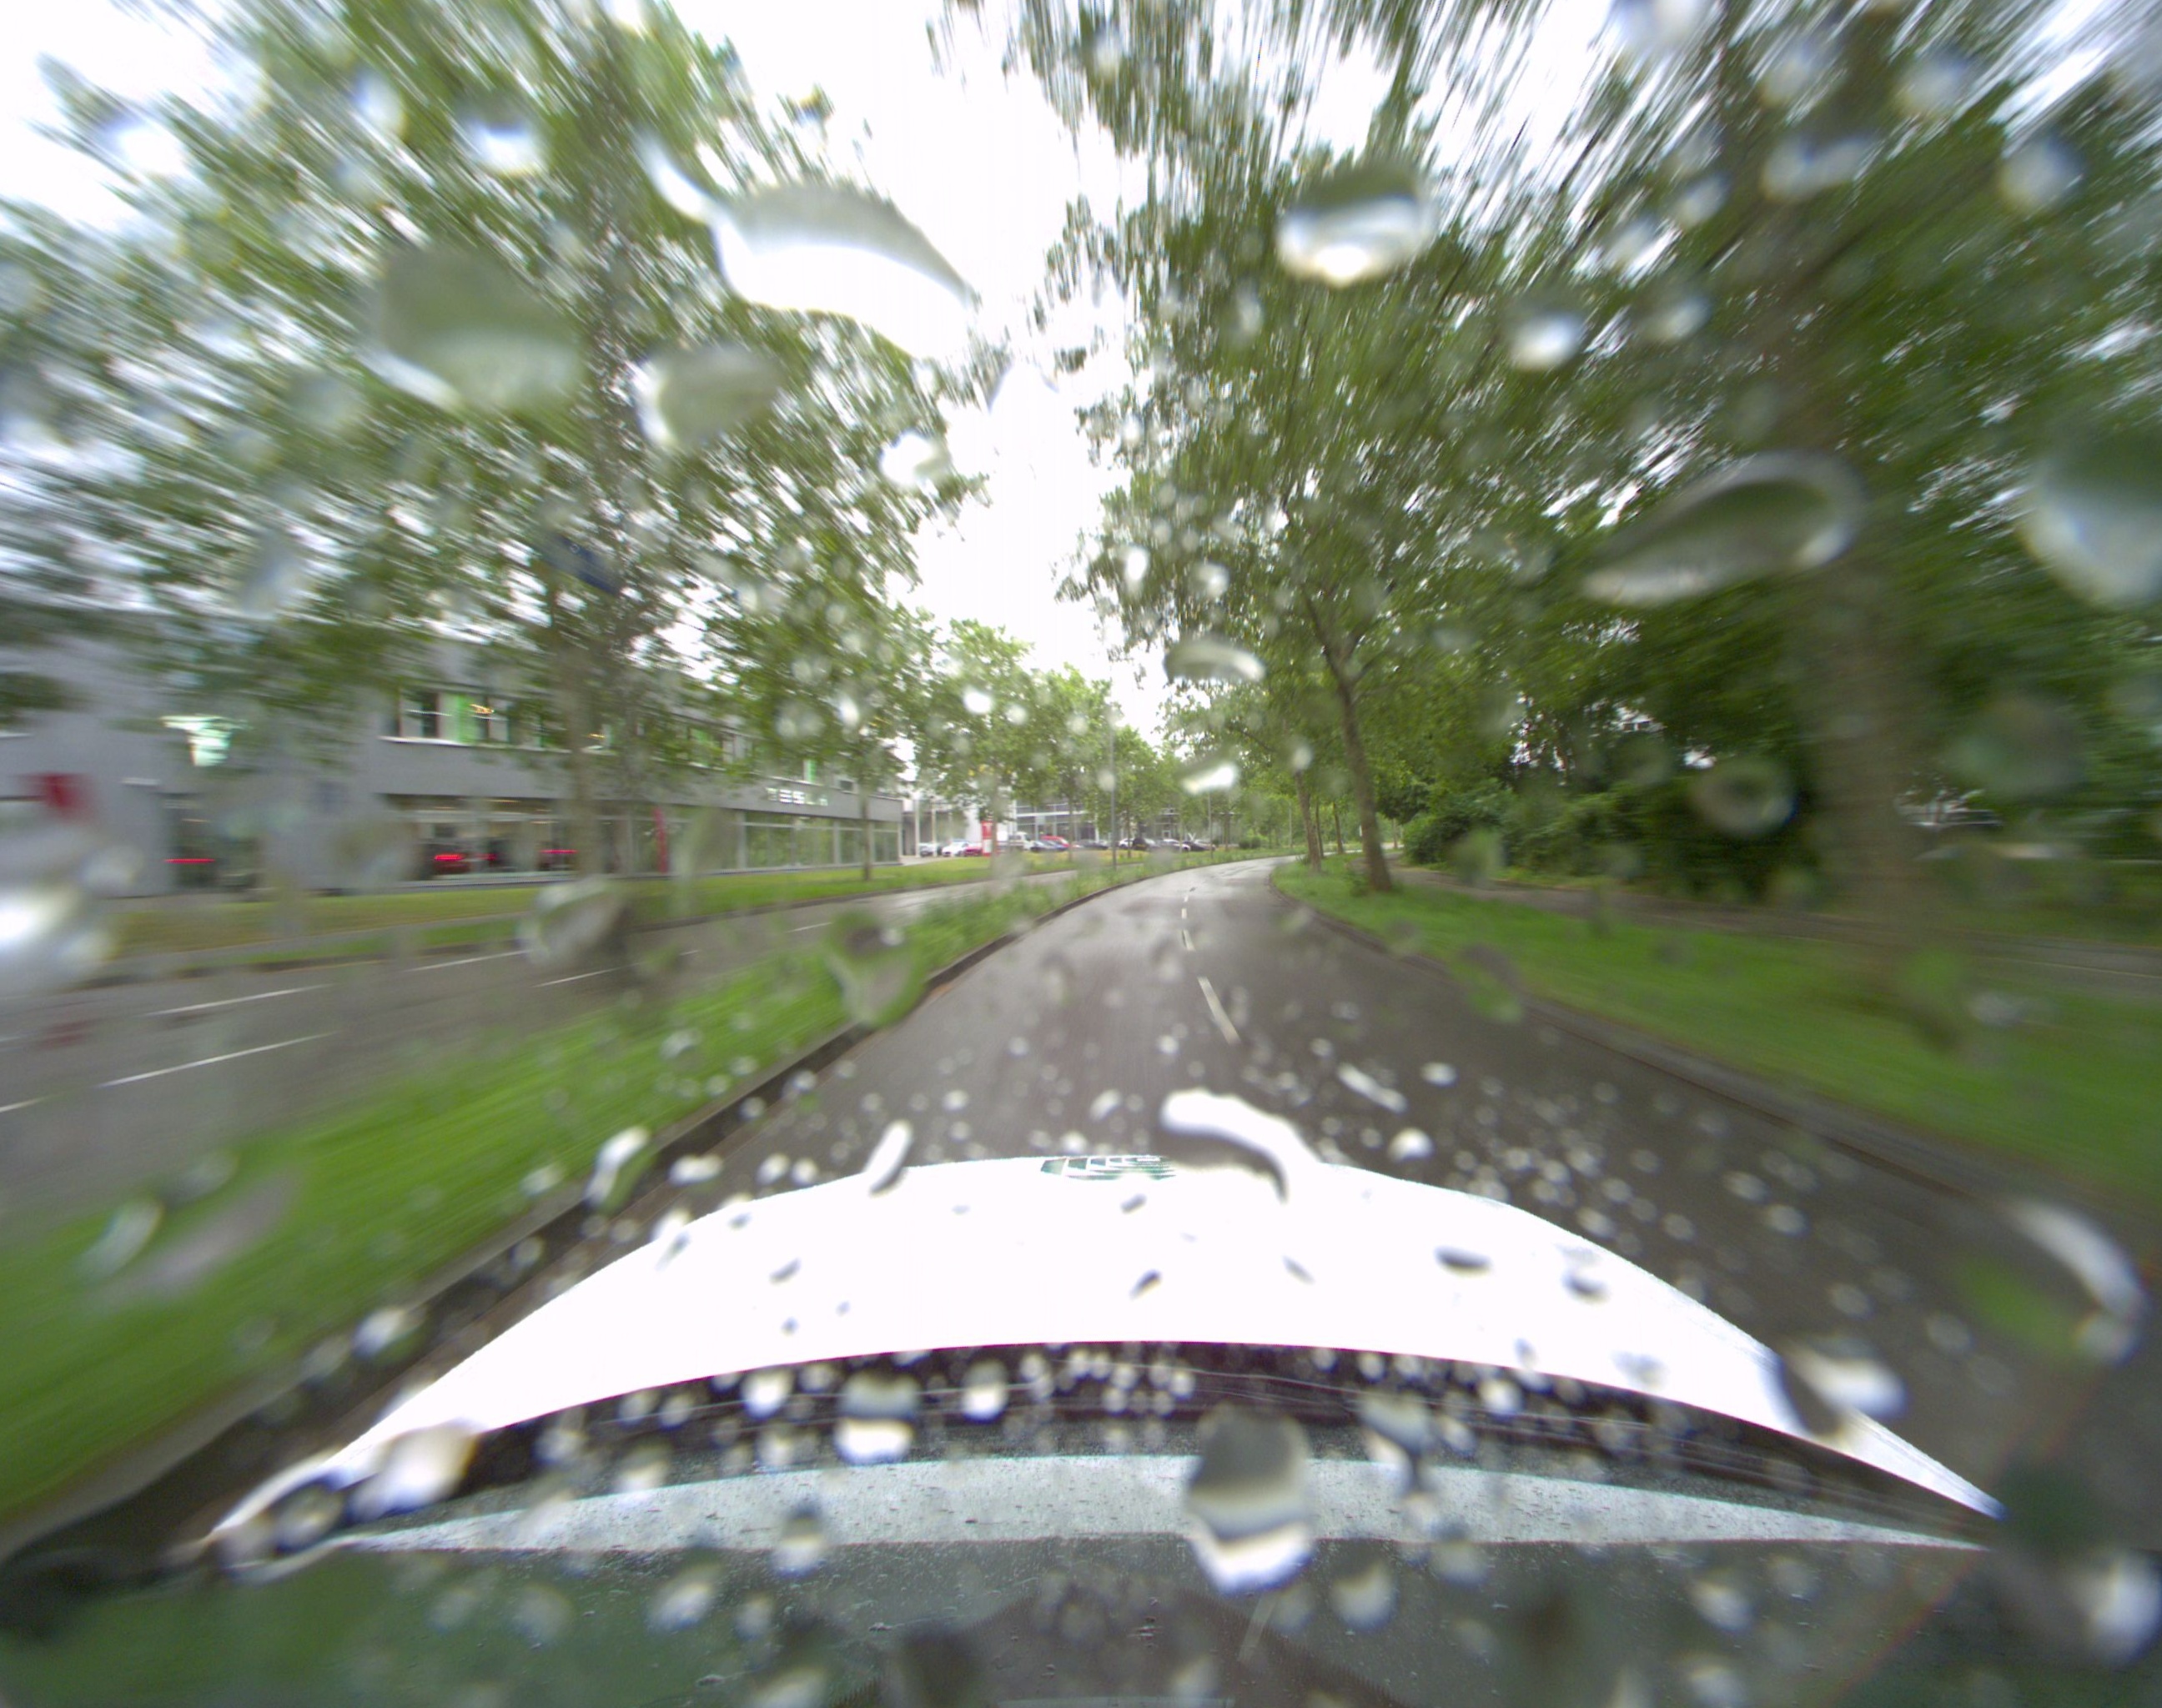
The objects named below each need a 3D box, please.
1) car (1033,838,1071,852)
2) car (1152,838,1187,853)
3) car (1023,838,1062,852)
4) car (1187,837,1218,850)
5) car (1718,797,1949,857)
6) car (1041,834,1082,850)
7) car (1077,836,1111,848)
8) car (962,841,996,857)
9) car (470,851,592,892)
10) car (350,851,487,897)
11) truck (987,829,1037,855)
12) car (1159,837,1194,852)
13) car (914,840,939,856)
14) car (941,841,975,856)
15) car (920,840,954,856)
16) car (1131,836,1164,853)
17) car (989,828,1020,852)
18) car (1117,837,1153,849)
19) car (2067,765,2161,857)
[{"bbox_3d":[-3.084,-0.954,86.507,3.492,1.326,1.778,2,3,23],"label":"car"},{"bbox_3d":[11.475,-1.048,105.641,4.115,1.478,1.843,4,5,-9],"label":"car"},{"bbox_3d":[-3.984,-0.959,84.382,3.492,1.326,1.778,2,3,23],"label":"car"},{"bbox_3d":[17.205,-1.493,115.397,4.002,1.475,1.773,3,5,-22],"label":"car"},{"bbox_3d":[19.631,-0.712,21.446,4.113,1.482,1.776,0,2,15],"label":"car"},{"bbox_3d":[-2.120,-1.302,89.063,3.961,1.556,1.858,2,3,23],"label":"car"},{"bbox_3d":[1.609,-1.420,98.388,3.977,1.357,1.851,1,3,5],"label":"car"},{"bbox_3d":[-10.140,-0.522,81.080,1.749,1.466,4.176,0,3,17],"label":"car"},{"bbox_3d":[-21.361,0.665,31.671,4.159,1.494,1.605,-1,0,16],"label":"car"},{"bbox_3d":[-23.163,0.689,28.500,4.159,1.494,1.605,-1,0,16],"label":"car"},{"bbox_3d":[-6.738,-1.196,80.487,2.227,2.344,6.230,2,3,24],"label":"truck"},{"bbox_3d":[12.722,-1.282,108.327,4.125,1.478,1.839,4,5,-17],"label":"car"},{"bbox_3d":[-17.980,-0.754,94.542,1.824,1.764,4.616,0,1,-25],"label":"car"},{"bbox_3d":[-12.452,-0.582,82.711,1.749,1.396,4.176,0,3,17],"label":"car"},{"bbox_3d":[-14.693,-0.642,83.383,1.749,1.396,4.176,0,3,17],"label":"car"},{"bbox_3d":[8.349,-1.190,102.532,1.854,1.556,4.394,2,6,-33],"label":"car"},{"bbox_3d":[-9.293,-1.705,98.749,2.175,2.752,5.295,0,1,-25],"label":"car"},{"bbox_3d":[7.191,-1.429,107.759,4.384,1.473,1.930,-1,1,20],"label":"car"},{"bbox_3d":[19.482,-0.730,13.468,4.128,1.482,1.769,-1,2,1],"label":"car"}]
